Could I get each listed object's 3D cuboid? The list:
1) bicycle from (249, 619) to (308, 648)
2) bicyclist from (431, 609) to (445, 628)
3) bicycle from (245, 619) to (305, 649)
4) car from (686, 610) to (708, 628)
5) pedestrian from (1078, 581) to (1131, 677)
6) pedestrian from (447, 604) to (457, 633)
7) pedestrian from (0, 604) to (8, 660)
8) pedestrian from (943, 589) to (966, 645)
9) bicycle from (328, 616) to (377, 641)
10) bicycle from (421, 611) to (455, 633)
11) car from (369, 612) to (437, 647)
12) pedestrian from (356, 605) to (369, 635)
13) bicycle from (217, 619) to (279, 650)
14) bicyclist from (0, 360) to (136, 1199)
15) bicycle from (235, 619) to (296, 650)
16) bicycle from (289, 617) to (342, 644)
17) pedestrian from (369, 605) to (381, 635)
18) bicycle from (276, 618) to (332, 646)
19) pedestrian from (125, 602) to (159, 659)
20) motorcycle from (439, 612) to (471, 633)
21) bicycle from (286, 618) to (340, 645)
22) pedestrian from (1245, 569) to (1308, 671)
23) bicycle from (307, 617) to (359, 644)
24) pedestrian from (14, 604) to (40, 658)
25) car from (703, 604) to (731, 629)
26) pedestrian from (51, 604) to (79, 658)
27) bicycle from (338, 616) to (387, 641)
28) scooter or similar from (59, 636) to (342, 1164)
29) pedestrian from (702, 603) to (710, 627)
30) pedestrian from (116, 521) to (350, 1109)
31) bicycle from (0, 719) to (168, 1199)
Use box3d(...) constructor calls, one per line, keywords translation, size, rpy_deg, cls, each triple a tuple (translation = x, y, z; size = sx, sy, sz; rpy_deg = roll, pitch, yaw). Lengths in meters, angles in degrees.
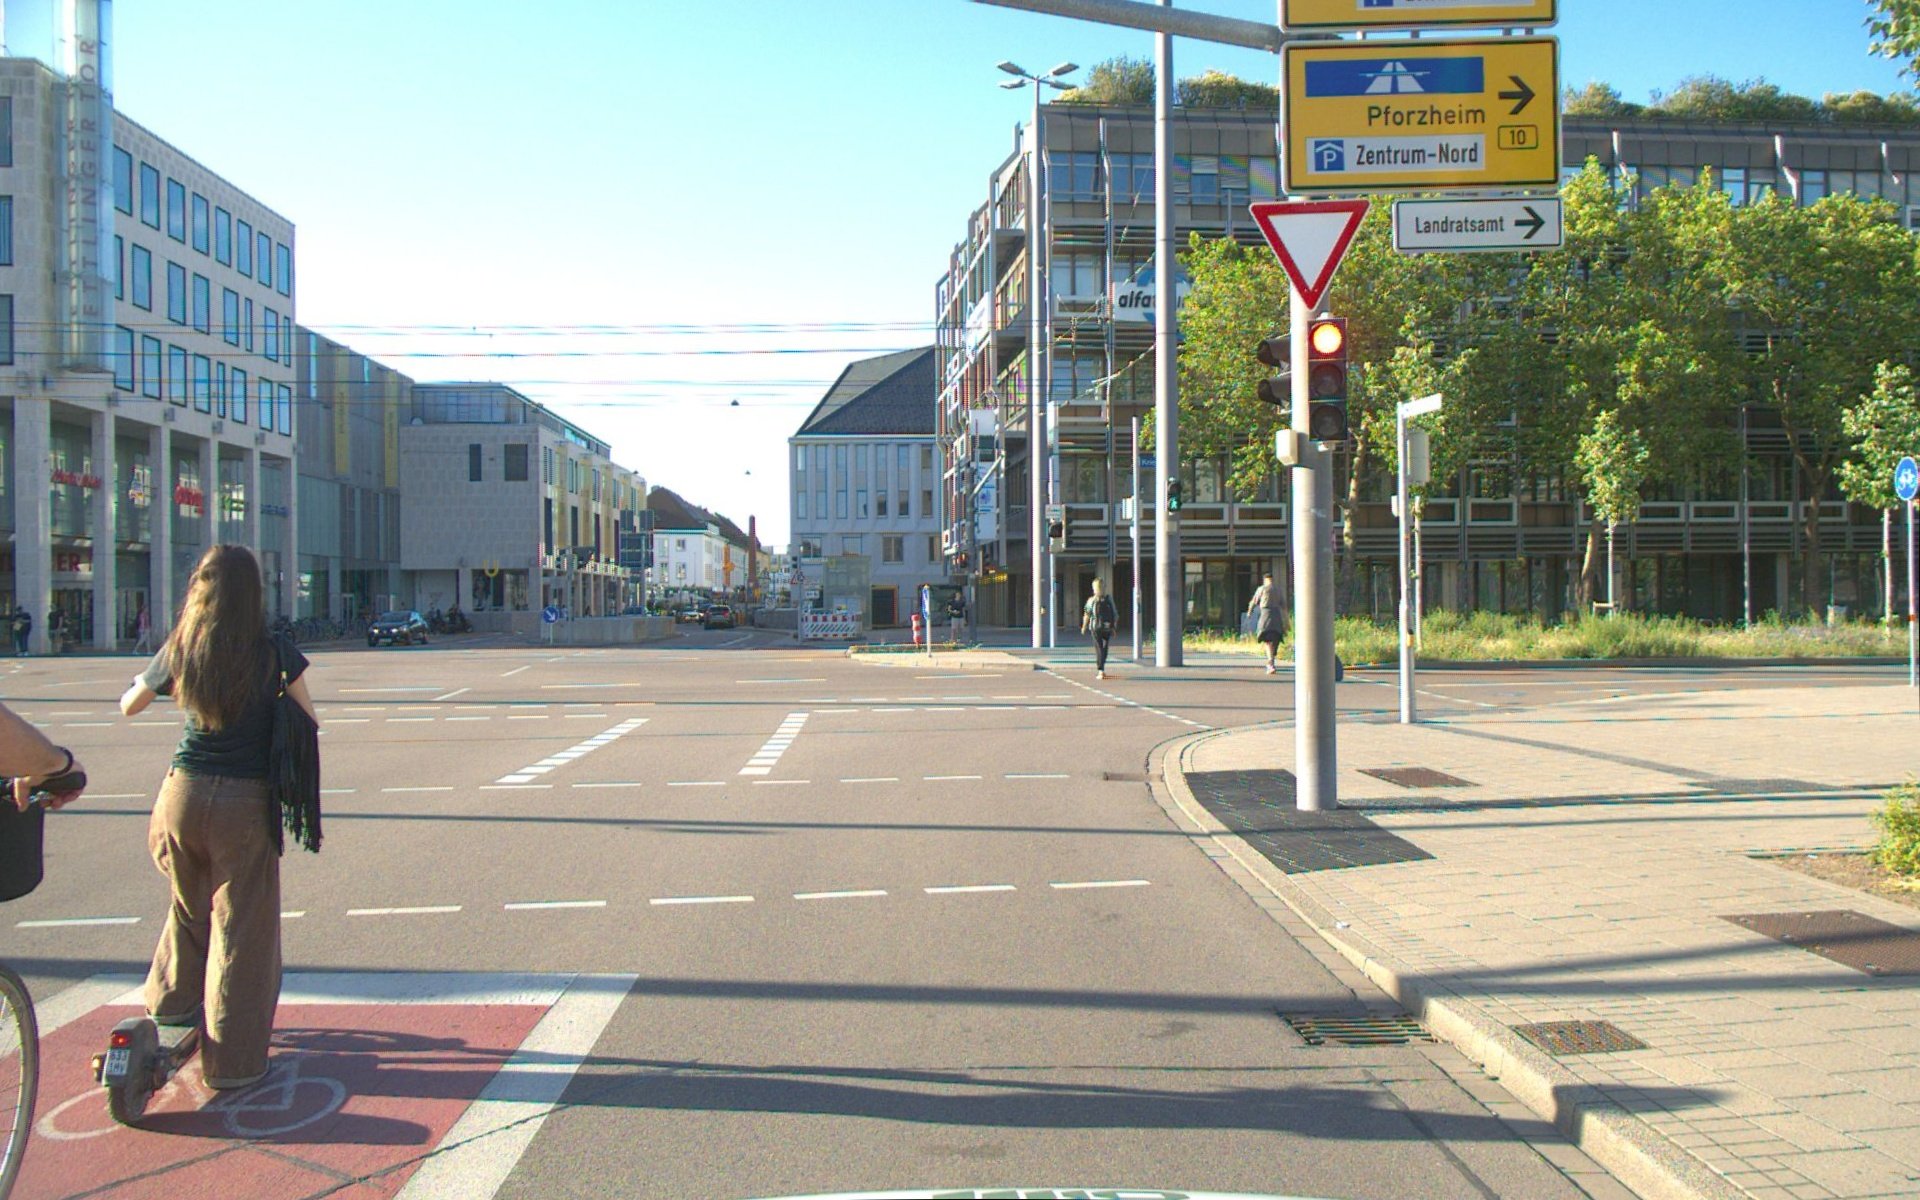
box3d(translation=(-29.504, 1.442, 71.633), size=(2.260, 1.244, 0.611), rpy_deg=(0, 0, -3), cls="bicycle")
box3d(translation=(-29.730, 1.056, 94.237), size=(0.503, 1.103, 0.621), rpy_deg=(1, 0, 44), cls="bicyclist")
box3d(translation=(-29.290, 1.442, 70.757), size=(2.260, 1.244, 0.611), rpy_deg=(0, 0, -3), cls="bicycle")
box3d(translation=(-25.543, 1.864, 160.913), size=(1.762, 1.686, 3.996), rpy_deg=(1, 0, -5), cls="car")
box3d(translation=(2.321, 0.458, 26.584), size=(0.772, 1.518, 0.644), rpy_deg=(1, -1, -1), cls="pedestrian")
box3d(translation=(-30.099, 1.081, 98.079), size=(0.512, 1.709, 0.581), rpy_deg=(1, 0, -14), cls="pedestrian")
box3d(translation=(-33.146, 1.080, 56.820), size=(0.706, 1.918, 0.780), rpy_deg=(1, -1, -28), cls="pedestrian")
box3d(translation=(-0.203, 0.581, 57.298), size=(0.772, 1.923, 0.644), rpy_deg=(1, -1, -1), cls="pedestrian")
box3d(translation=(-30.928, 1.473, 84.268), size=(2.260, 1.244, 0.611), rpy_deg=(0, 0, -3), cls="bicycle")
box3d(translation=(-29.734, 1.244, 94.192), size=(1.796, 1.228, 0.503), rpy_deg=(1, 0, -44), cls="bicycle")
box3d(translation=(-23.378, 1.211, 69.485), size=(1.597, 1.365, 3.998), rpy_deg=(-3, 0, -3), cls="car")
box3d(translation=(-34.872, 1.153, 96.544), size=(0.560, 1.709, 0.614), rpy_deg=(1, 0, -10), cls="pedestrian")
box3d(translation=(-29.333, 1.429, 68.117), size=(2.260, 1.244, 0.611), rpy_deg=(0, 0, -3), cls="bicycle")
box3d(translation=(-1.976, 0.459, 2.853), size=(0.647, 1.750, 0.865), rpy_deg=(1, -1, -1), cls="bicyclist")
box3d(translation=(-29.126, 1.439, 69.403), size=(2.260, 1.244, 0.611), rpy_deg=(0, 0, -3), cls="bicycle")
box3d(translation=(-30.714, 1.453, 78.819), size=(2.260, 1.244, 0.611), rpy_deg=(0, 0, -3), cls="bicycle")
box3d(translation=(-34.228, 1.163, 96.802), size=(0.544, 1.709, 0.606), rpy_deg=(1, 0, -11), cls="pedestrian")
box3d(translation=(-29.604, 1.454, 74.698), size=(2.260, 1.244, 0.611), rpy_deg=(0, 0, -3), cls="bicycle")
box3d(translation=(-29.487, 1.103, 59.644), size=(0.868, 2.049, 0.771), rpy_deg=(1, -1, -12), cls="pedestrian")
box3d(translation=(-29.761, 1.336, 97.476), size=(1.775, 1.228, 0.509), rpy_deg=(1, 0, -16), cls="motorcycle")
box3d(translation=(-30.065, 1.455, 76.849), size=(2.260, 1.244, 0.611), rpy_deg=(0, 0, -3), cls="bicycle")
box3d(translation=(5.394, 0.333, 28.238), size=(0.861, 1.694, 0.964), rpy_deg=(1, -1, -1), cls="pedestrian")
box3d(translation=(-30.334, 1.465, 80.051), size=(2.260, 1.244, 0.611), rpy_deg=(0, 0, -3), cls="bicycle")
box3d(translation=(-32.862, 1.082, 58.263), size=(0.787, 1.876, 0.856), rpy_deg=(0, 0, -29), cls="pedestrian")
box3d(translation=(-15.826, 1.066, 107.947), size=(1.705, 1.558, 3.849), rpy_deg=(1, 0, -8), cls="car")
box3d(translation=(-31.171, 1.074, 57.604), size=(0.788, 1.876, 0.854), rpy_deg=(0, 0, -33), cls="pedestrian")
box3d(translation=(-30.816, 1.480, 85.338), size=(2.260, 1.244, 0.611), rpy_deg=(0, 0, -3), cls="bicycle")
box3d(translation=(-2.176, 0.780, 4.861), size=(0.538, 1.316, 1.189), rpy_deg=(1, 0, -15), cls="scooter or similar")
box3d(translation=(-17.894, 1.067, 116.722), size=(0.511, 1.709, 0.582), rpy_deg=(1, 0, -8), cls="pedestrian")
box3d(translation=(-2.186, 0.612, 5.029), size=(0.540, 1.661, 0.569), rpy_deg=(1, -1, -16), cls="pedestrian")
box3d(translation=(-2.080, 0.863, 2.928), size=(0.475, 1.176, 1.831), rpy_deg=(1, 0, -1), cls="bicycle")
